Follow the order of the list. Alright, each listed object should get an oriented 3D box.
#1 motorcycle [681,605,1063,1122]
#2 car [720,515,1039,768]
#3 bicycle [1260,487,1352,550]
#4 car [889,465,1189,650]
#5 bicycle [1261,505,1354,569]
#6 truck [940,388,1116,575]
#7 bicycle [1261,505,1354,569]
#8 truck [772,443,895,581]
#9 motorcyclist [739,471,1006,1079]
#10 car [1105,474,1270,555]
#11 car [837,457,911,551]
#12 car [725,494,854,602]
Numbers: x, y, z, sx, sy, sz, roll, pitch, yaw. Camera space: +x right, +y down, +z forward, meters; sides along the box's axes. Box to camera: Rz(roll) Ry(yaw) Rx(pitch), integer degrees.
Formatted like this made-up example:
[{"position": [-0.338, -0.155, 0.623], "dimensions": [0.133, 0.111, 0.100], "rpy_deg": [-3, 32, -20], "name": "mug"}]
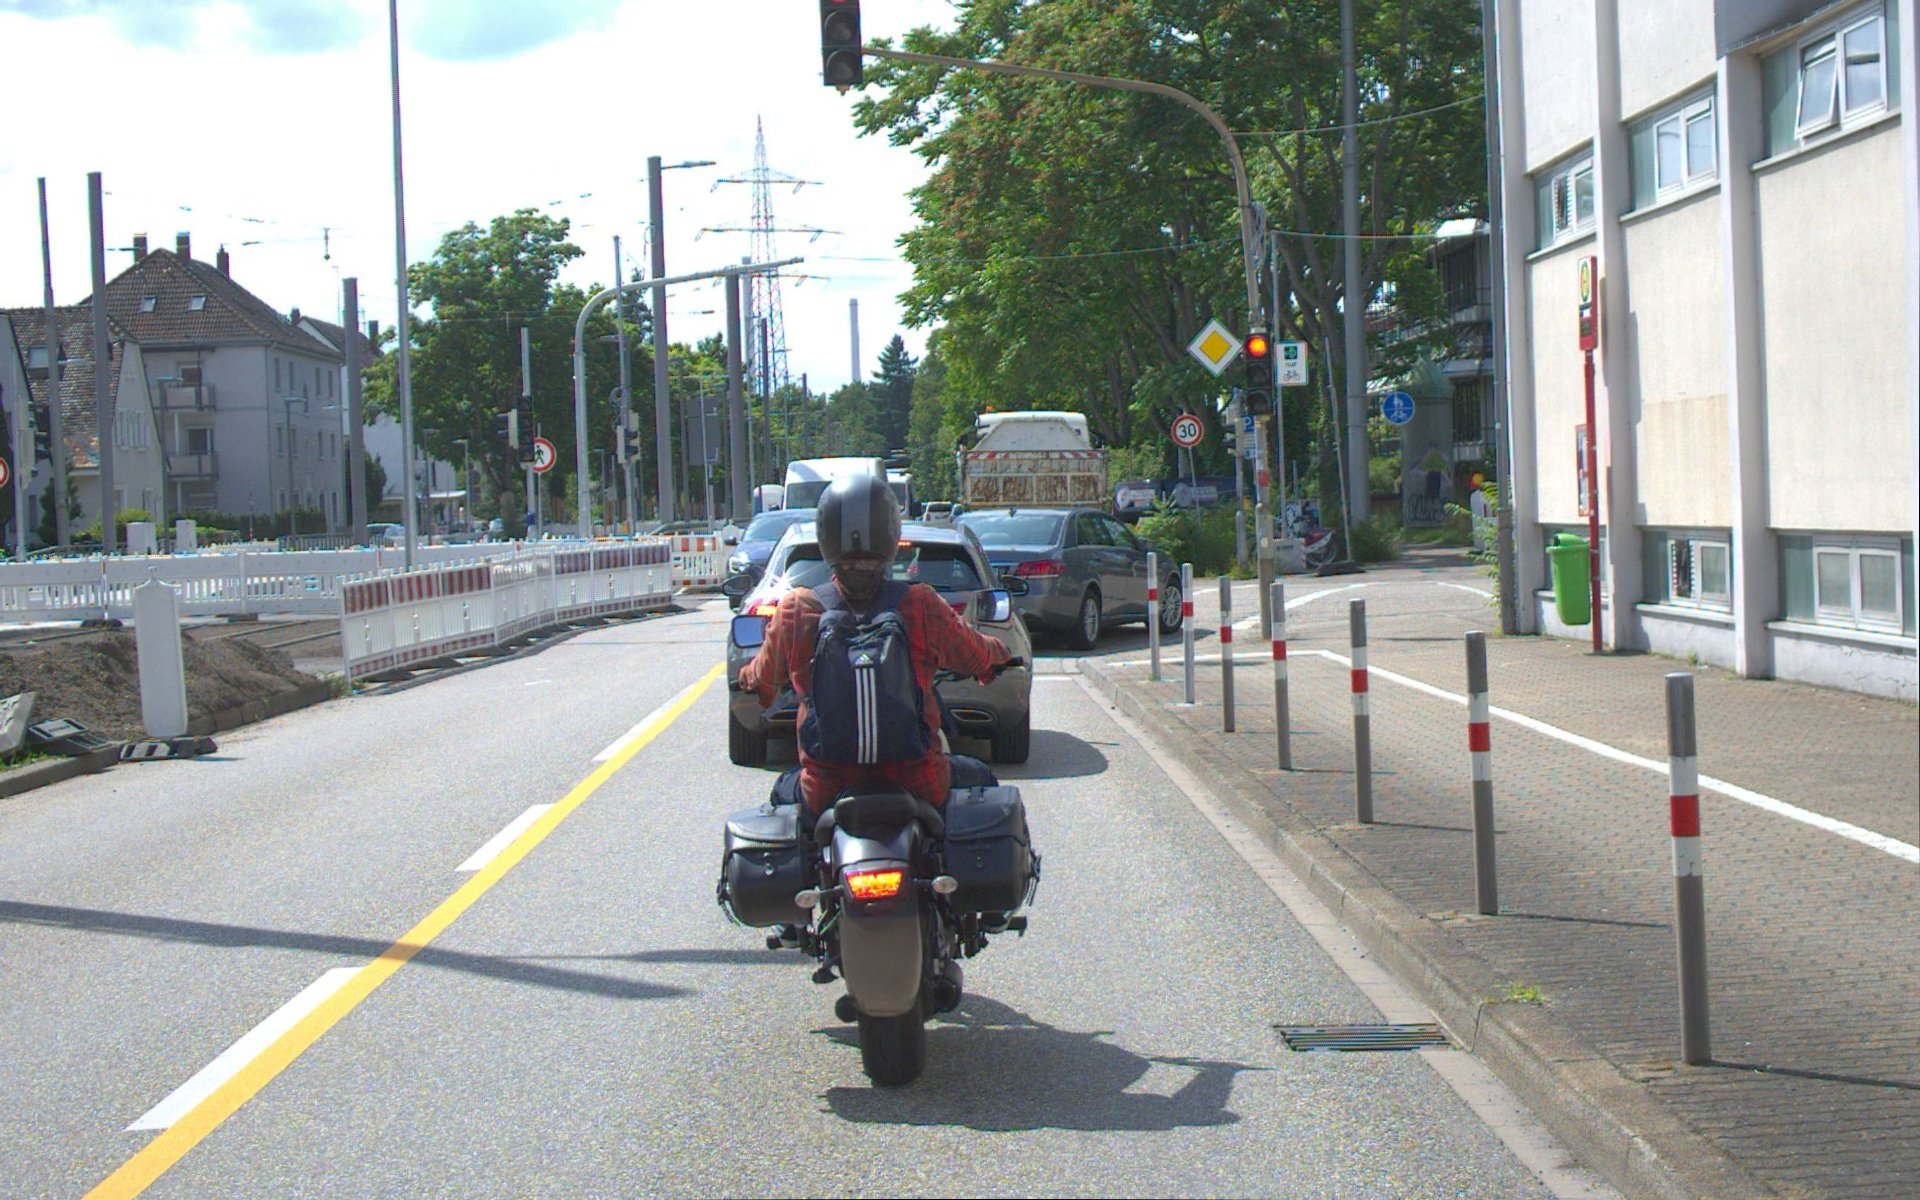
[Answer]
[{"position": [-0.227, 0.655, 9.743], "dimensions": [0.942, 1.196, 2.473], "rpy_deg": [0, 2, 0], "name": "motorcycle"}, {"position": [-0.594, 0.187, 21.461], "dimensions": [1.731, 1.399, 4.087], "rpy_deg": [0, 2, -5], "name": "car"}, {"position": [6.461, -1.522, 64.192], "dimensions": [1.708, 1.168, 0.438], "rpy_deg": [0, 1, 5], "name": "bicycle"}, {"position": [0.933, -0.505, 36.844], "dimensions": [1.903, 1.706, 4.716], "rpy_deg": [-1, 3, 18], "name": "car"}, {"position": [6.419, -1.162, 63.604], "dimensions": [1.708, 1.168, 0.438], "rpy_deg": [0, 1, 5], "name": "bicycle"}, {"position": [1.299, -2.082, 62.023], "dimensions": [2.967, 3.162, 7.764], "rpy_deg": [0, 1, 2], "name": "truck"}, {"position": [6.376, -1.154, 63.122], "dimensions": [1.708, 1.168, 0.438], "rpy_deg": [0, 1, 5], "name": "bicycle"}, {"position": [-2.461, -1.802, 68.328], "dimensions": [2.093, 2.468, 5.197], "rpy_deg": [-3, 3, 0], "name": "truck"}, {"position": [-0.232, 0.454, 9.383], "dimensions": [0.698, 1.598, 0.692], "rpy_deg": [0, 1, 0], "name": "motorcyclist"}, {"position": [5.531, -2.066, 83.264], "dimensions": [3.989, 1.919, 1.802], "rpy_deg": [-1, 2, -45], "name": "car"}, {"position": [-1.983, -2.208, 79.824], "dimensions": [1.589, 2.135, 3.627], "rpy_deg": [0, 1, 0], "name": "car"}, {"position": [-2.527, -0.815, 51.819], "dimensions": [1.645, 1.493, 4.269], "rpy_deg": [-1, 2, 1], "name": "car"}]
